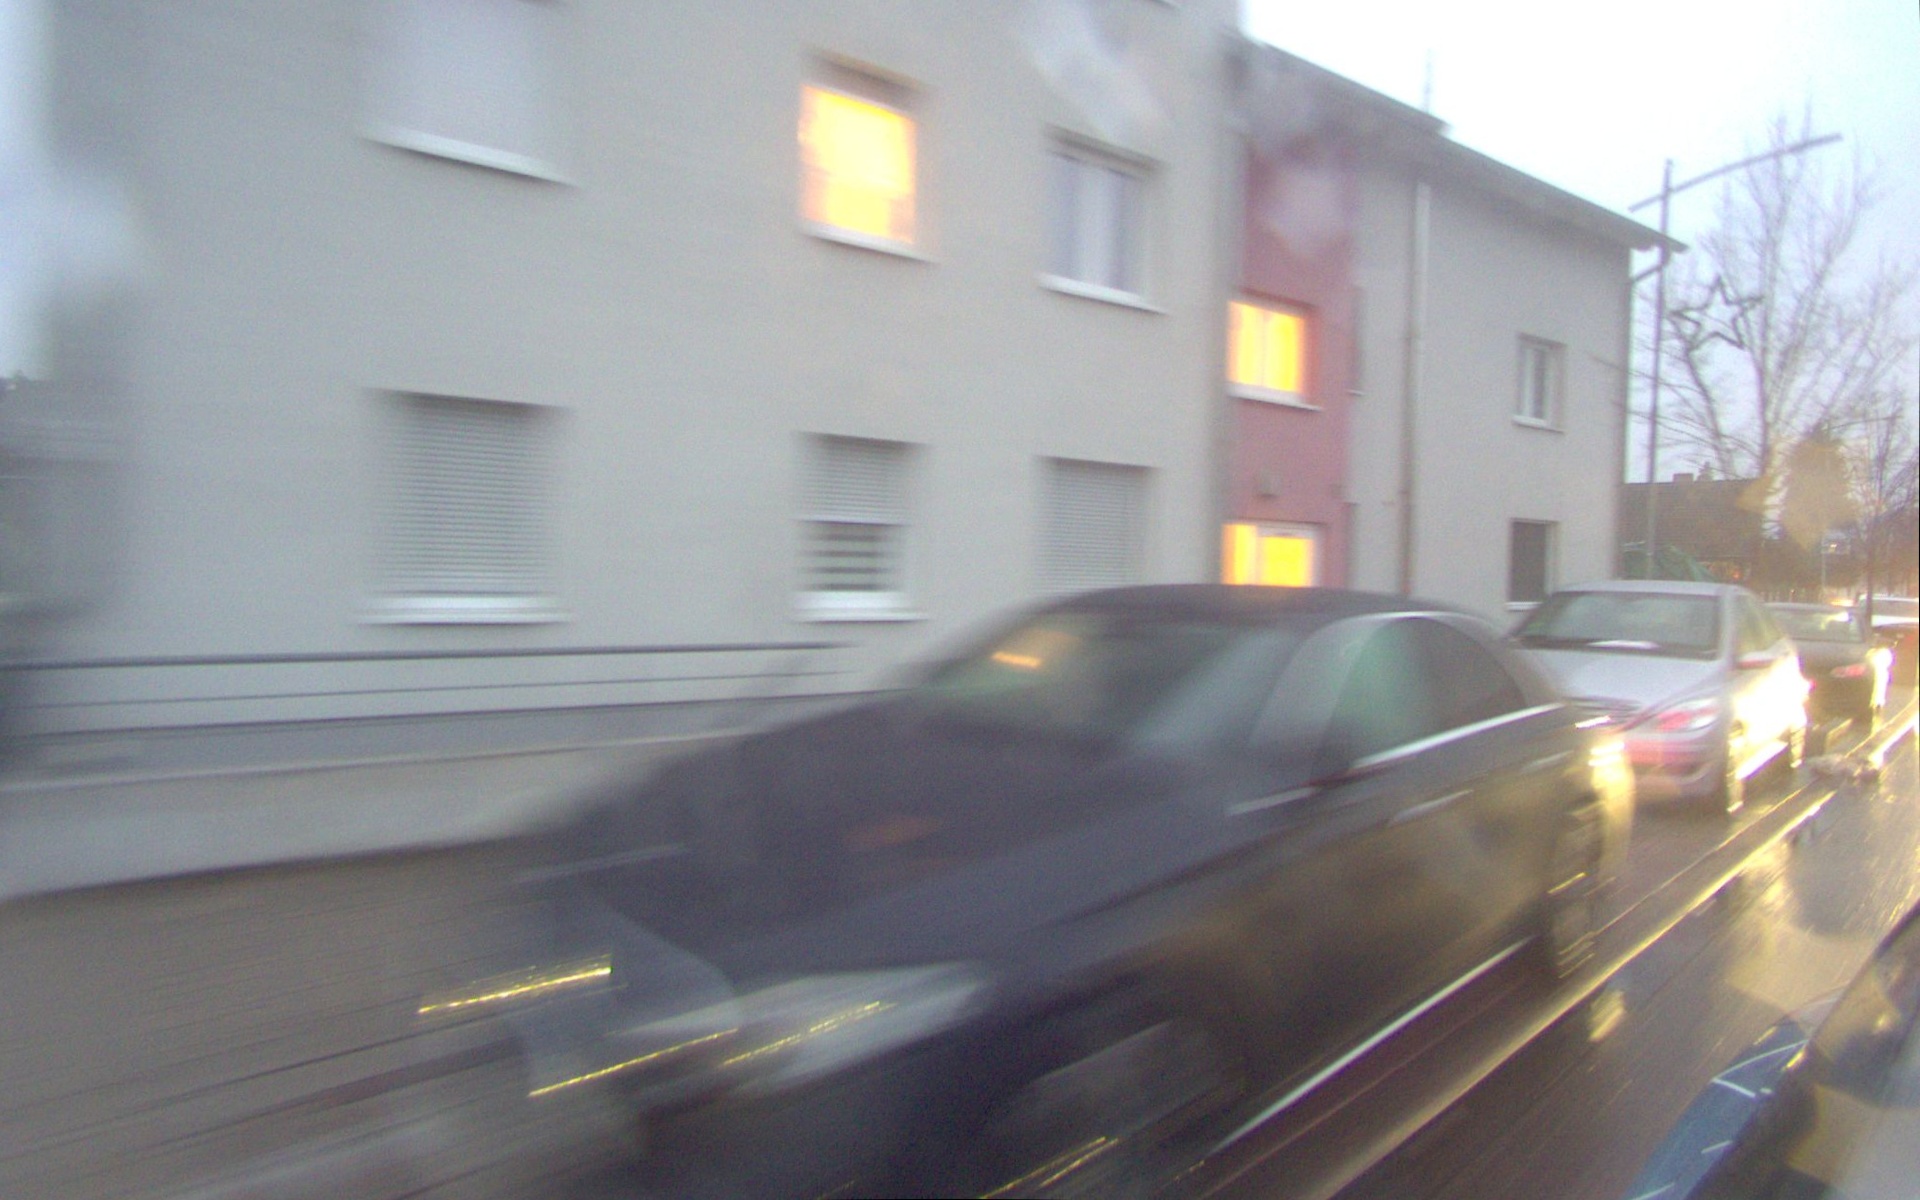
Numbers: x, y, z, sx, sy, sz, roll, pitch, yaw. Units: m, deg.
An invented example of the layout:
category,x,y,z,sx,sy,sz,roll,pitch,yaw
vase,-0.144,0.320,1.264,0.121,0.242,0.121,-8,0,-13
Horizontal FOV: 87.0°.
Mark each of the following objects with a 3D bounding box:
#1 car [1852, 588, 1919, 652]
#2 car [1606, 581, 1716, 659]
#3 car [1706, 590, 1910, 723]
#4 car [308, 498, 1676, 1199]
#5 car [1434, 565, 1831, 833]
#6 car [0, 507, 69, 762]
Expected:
category,x,y,z,sx,sy,sz,roll,pitch,yaw
car,25.574,0.501,27.350,4.233,1.583,1.809,0,2,-44
car,16.416,0.393,23.608,1.804,1.571,4.245,3,2,38
car,11.570,0.646,13.710,4.123,1.469,1.704,0,2,-45
car,0.753,0.664,3.602,4.924,1.552,1.959,0,-1,-43
car,5.651,0.576,8.250,4.421,1.595,1.667,0,2,-43
car,-7.160,0.179,6.423,1.770,1.620,4.023,1,3,-35
